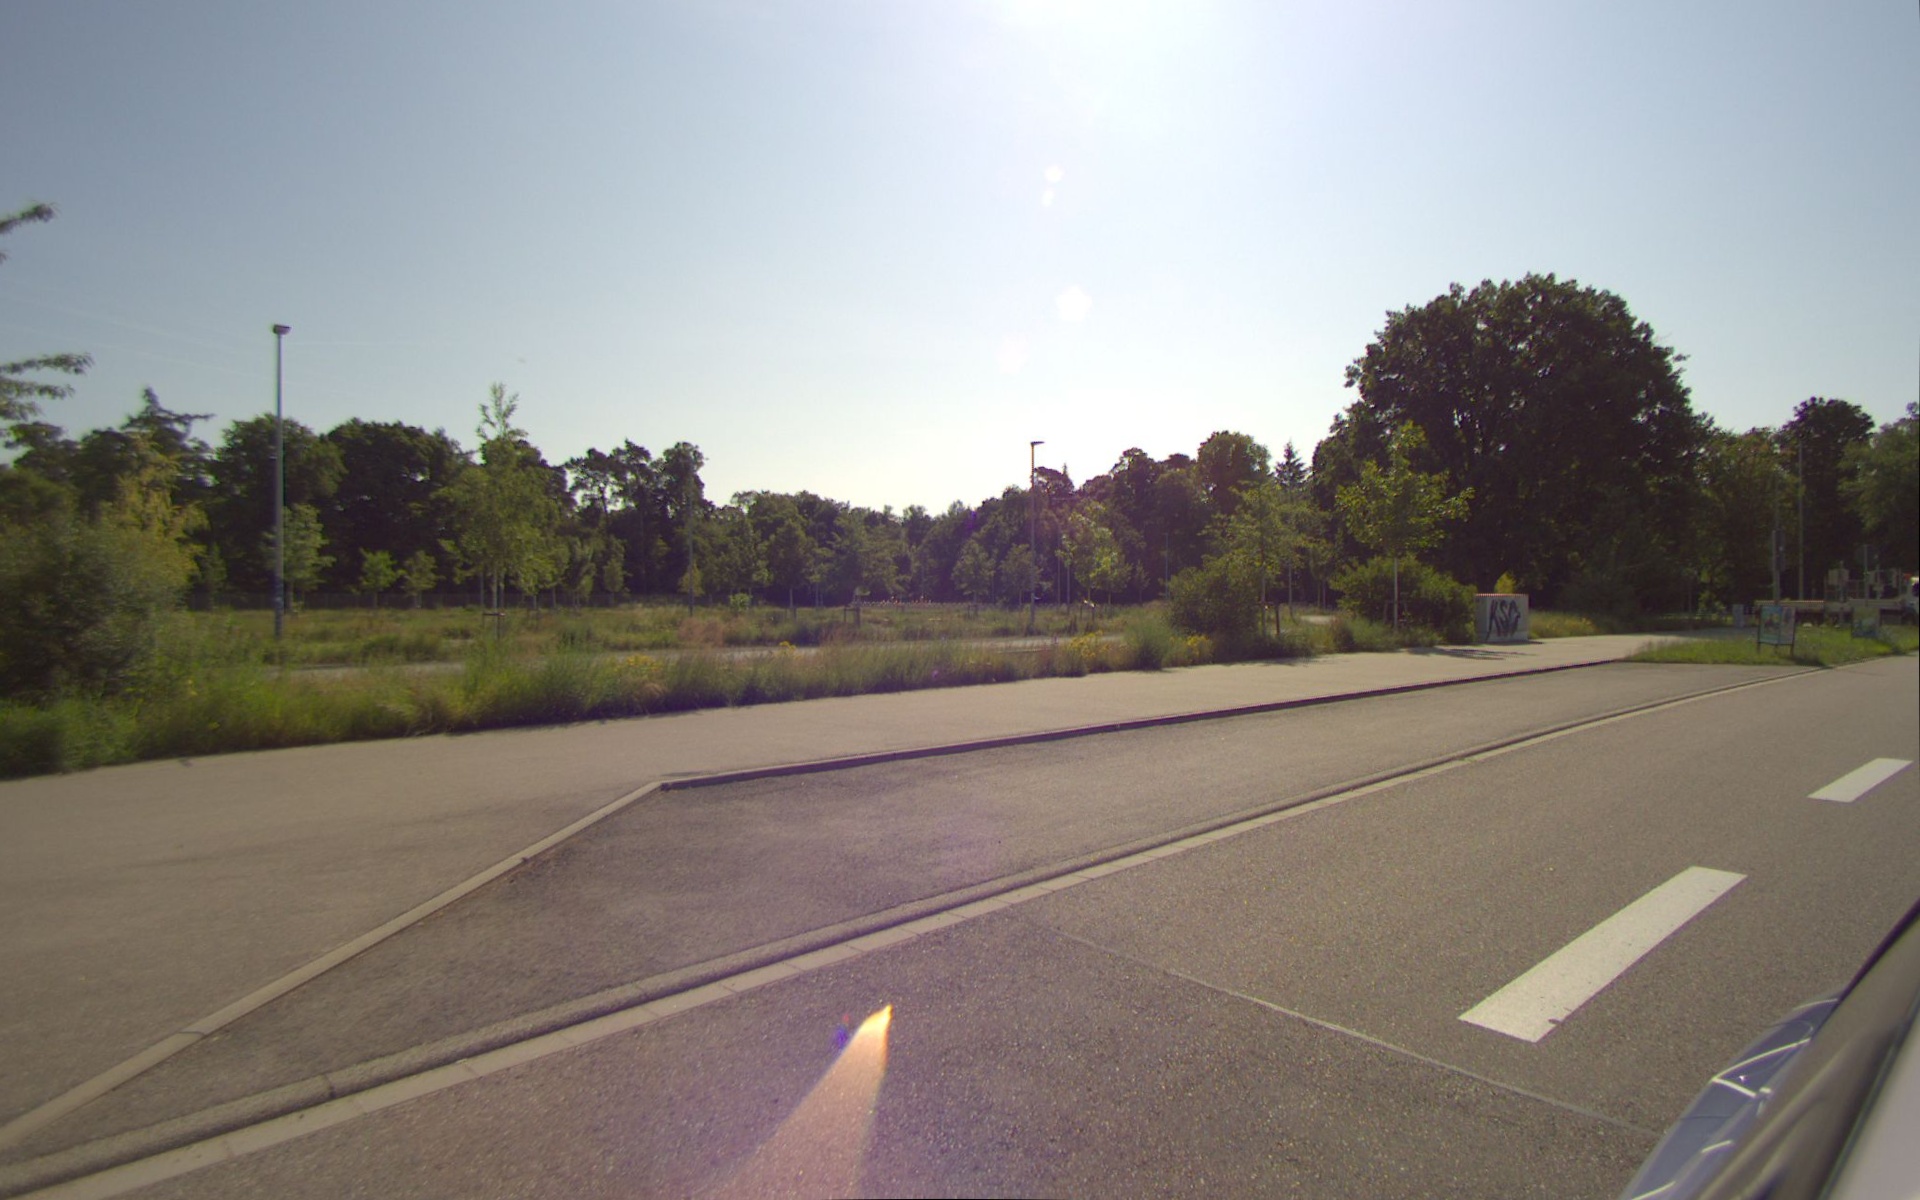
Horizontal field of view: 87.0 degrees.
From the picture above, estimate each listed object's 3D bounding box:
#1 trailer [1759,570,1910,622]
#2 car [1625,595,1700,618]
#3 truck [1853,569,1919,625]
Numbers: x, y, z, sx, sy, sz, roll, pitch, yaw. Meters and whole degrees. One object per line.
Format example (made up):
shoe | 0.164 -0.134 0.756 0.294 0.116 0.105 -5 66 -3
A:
trailer | 49.073 -0.194 57.105 2.654 2.722 6.884 0 0 2
car | 47.908 0.448 69.107 1.808 1.502 4.007 0 0 -12
truck | 48.504 -0.140 50.790 2.637 2.752 6.183 -1 0 10
